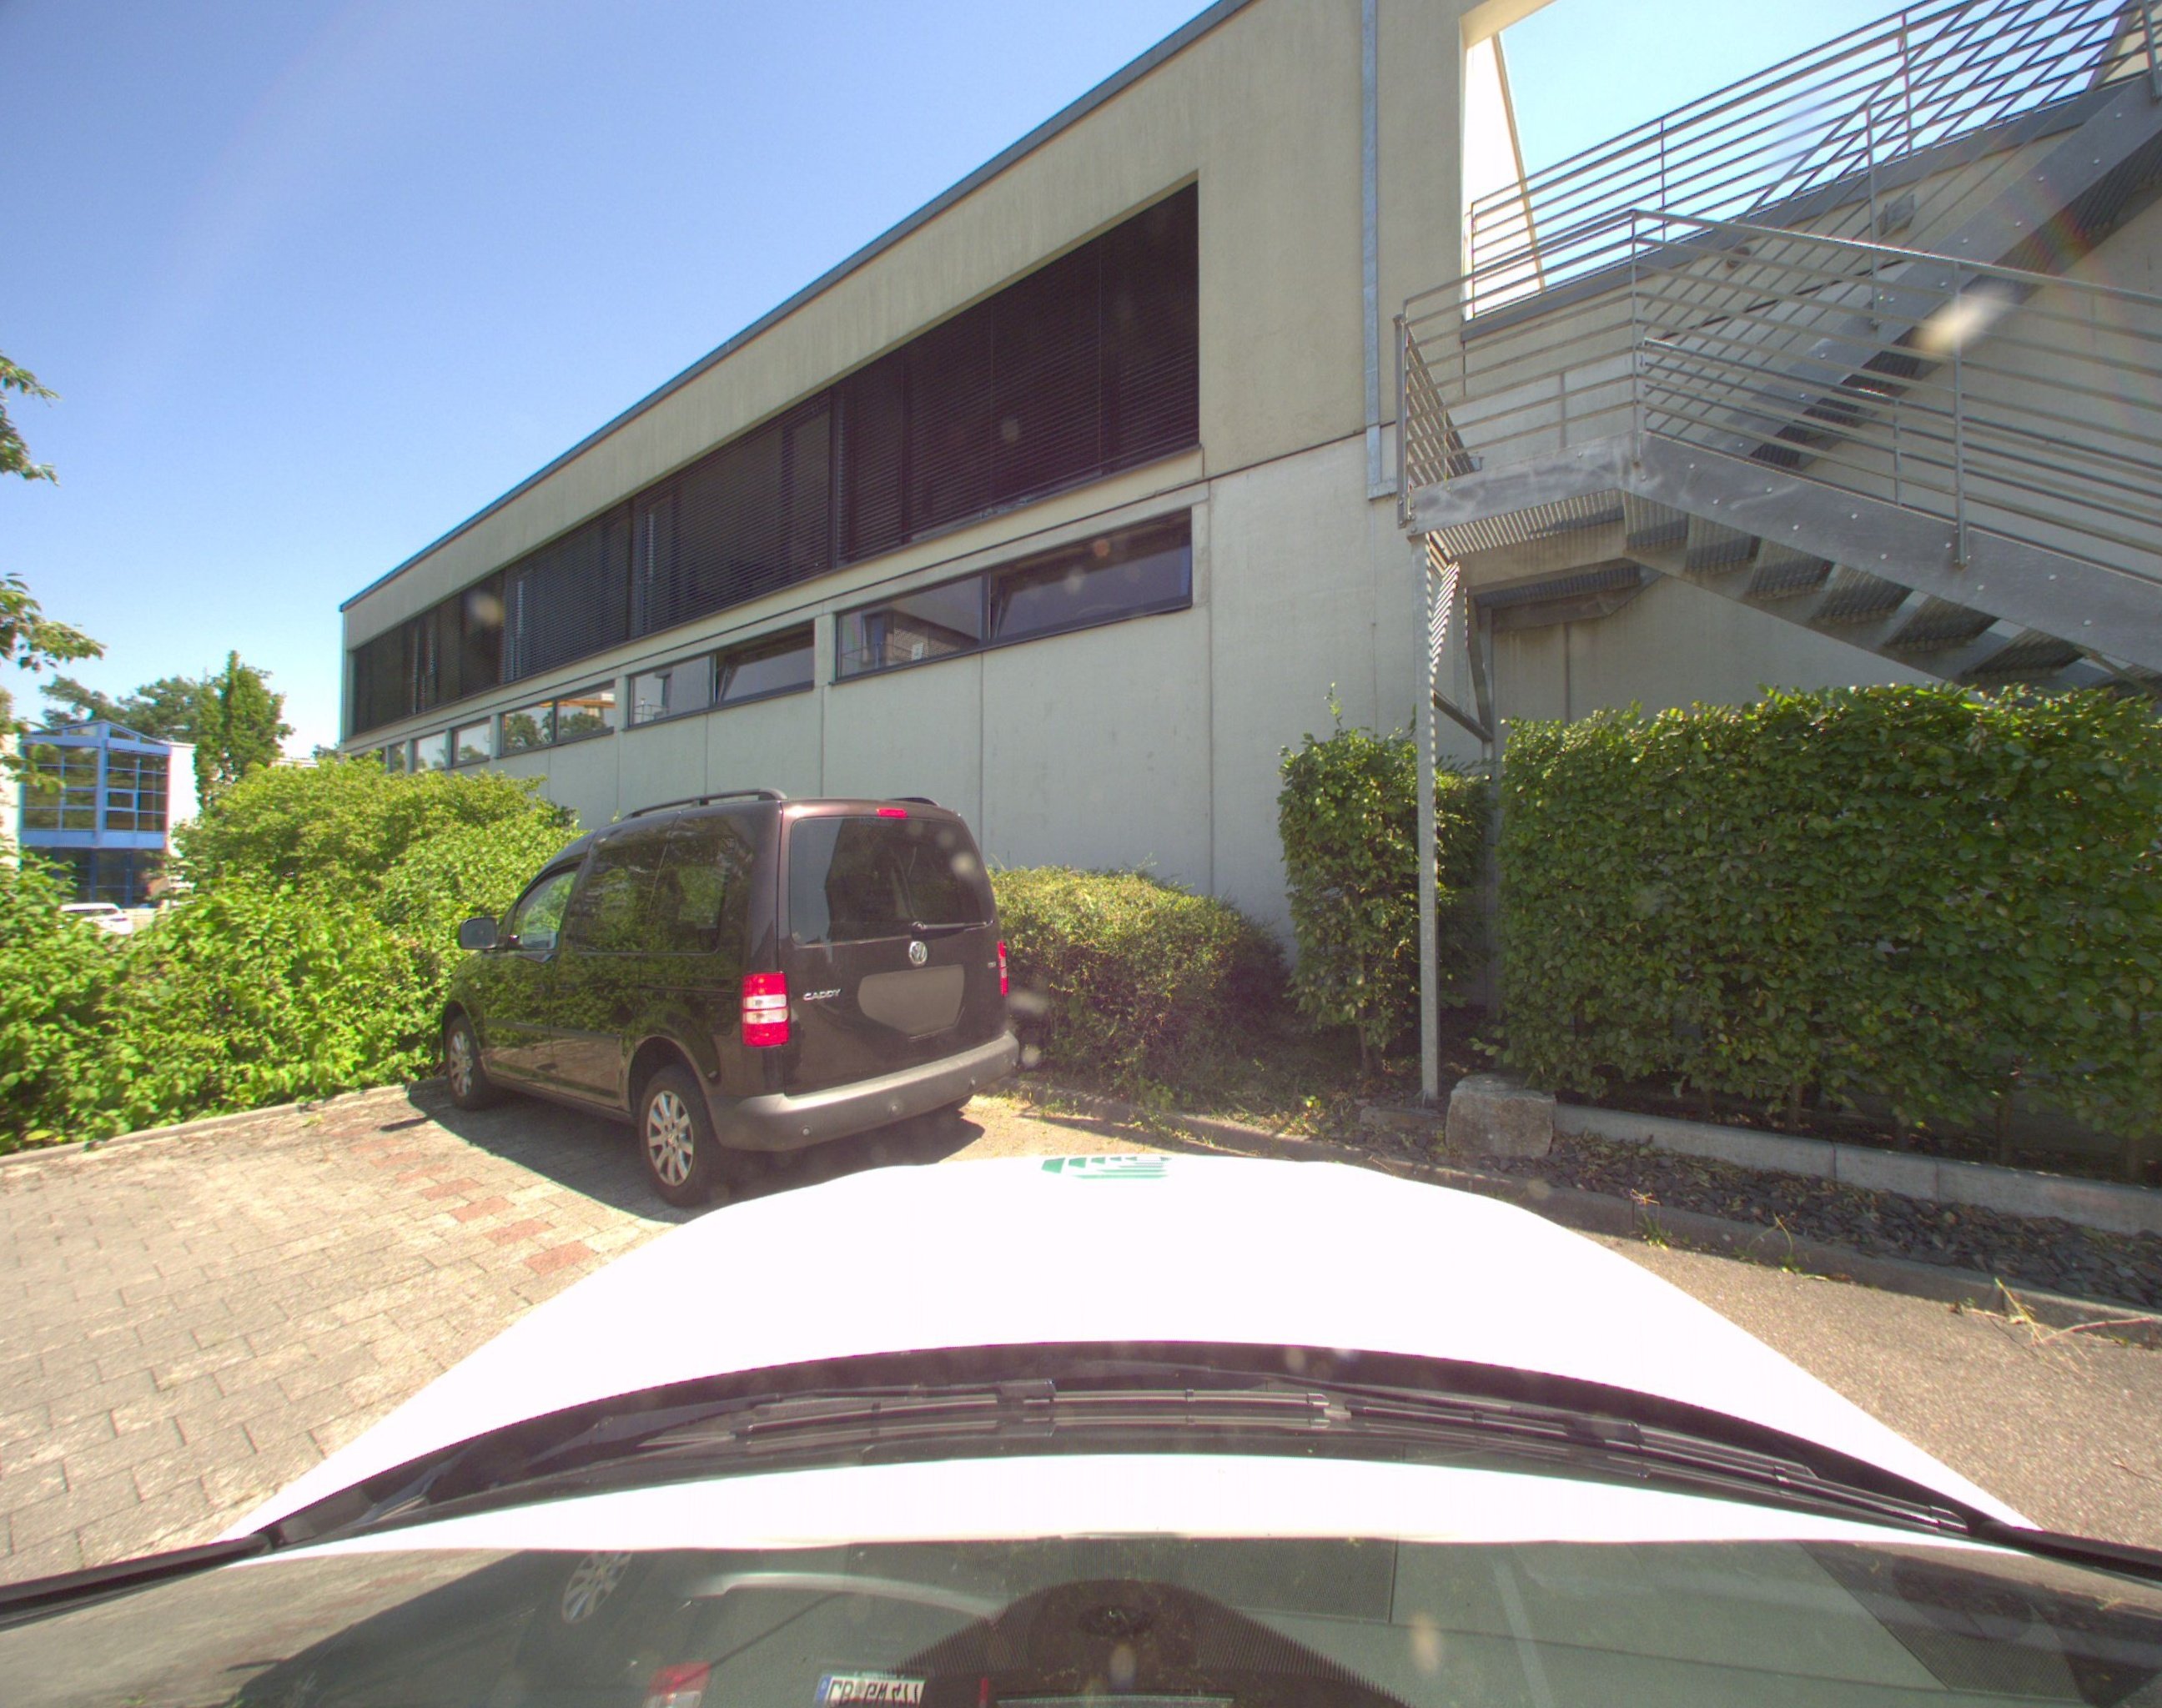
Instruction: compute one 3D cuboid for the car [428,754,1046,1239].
[{"bbox_3d":[-2.328,0.577,5.040,4.018,1.884,1.689,-1,0,36],"label":"car"}]
